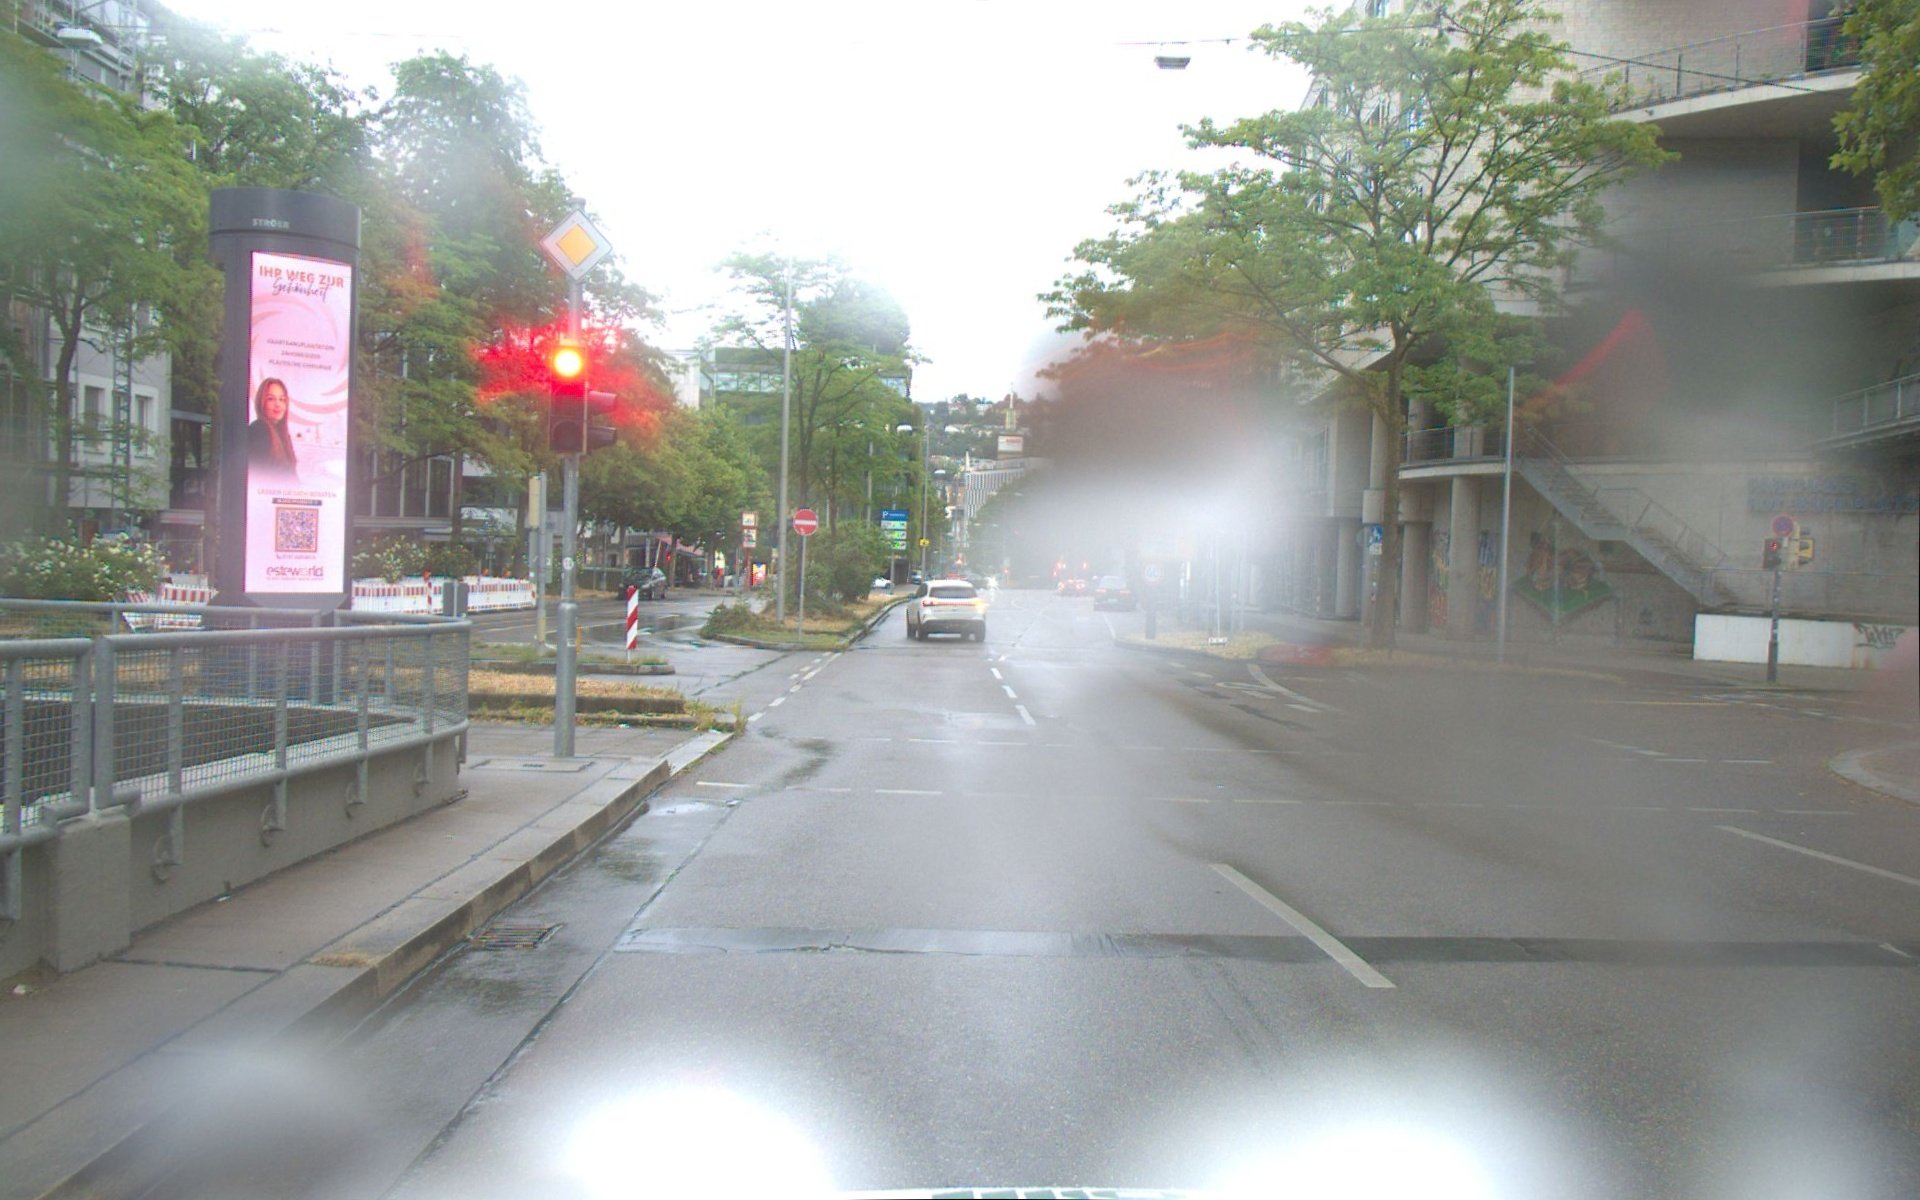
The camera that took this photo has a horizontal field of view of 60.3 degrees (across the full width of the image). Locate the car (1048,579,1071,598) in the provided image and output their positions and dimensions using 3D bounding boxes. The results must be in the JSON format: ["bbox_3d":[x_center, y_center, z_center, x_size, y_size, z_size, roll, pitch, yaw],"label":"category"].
[{"bbox_3d":[10.043,-1.153,166.957,1.953,1.766,3.999,1,0,-1],"label":"car"}]

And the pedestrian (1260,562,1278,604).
[{"bbox_3d":[14.416,-0.788,77.110,0.759,1.954,0.703,1,-1,9],"label":"pedestrian"}]

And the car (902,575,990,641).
[{"bbox_3d":[-0.436,0.191,45.928,1.795,1.668,4.292,2,0,-9],"label":"car"}]

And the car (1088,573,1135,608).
[{"bbox_3d":[7.674,-0.496,83.534,2.288,1.720,4.003,1,1,6],"label":"car"}]

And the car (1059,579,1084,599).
[{"bbox_3d":[10.375,-1.004,154.105,1.953,1.754,3.999,1,0,-2],"label":"car"}]
